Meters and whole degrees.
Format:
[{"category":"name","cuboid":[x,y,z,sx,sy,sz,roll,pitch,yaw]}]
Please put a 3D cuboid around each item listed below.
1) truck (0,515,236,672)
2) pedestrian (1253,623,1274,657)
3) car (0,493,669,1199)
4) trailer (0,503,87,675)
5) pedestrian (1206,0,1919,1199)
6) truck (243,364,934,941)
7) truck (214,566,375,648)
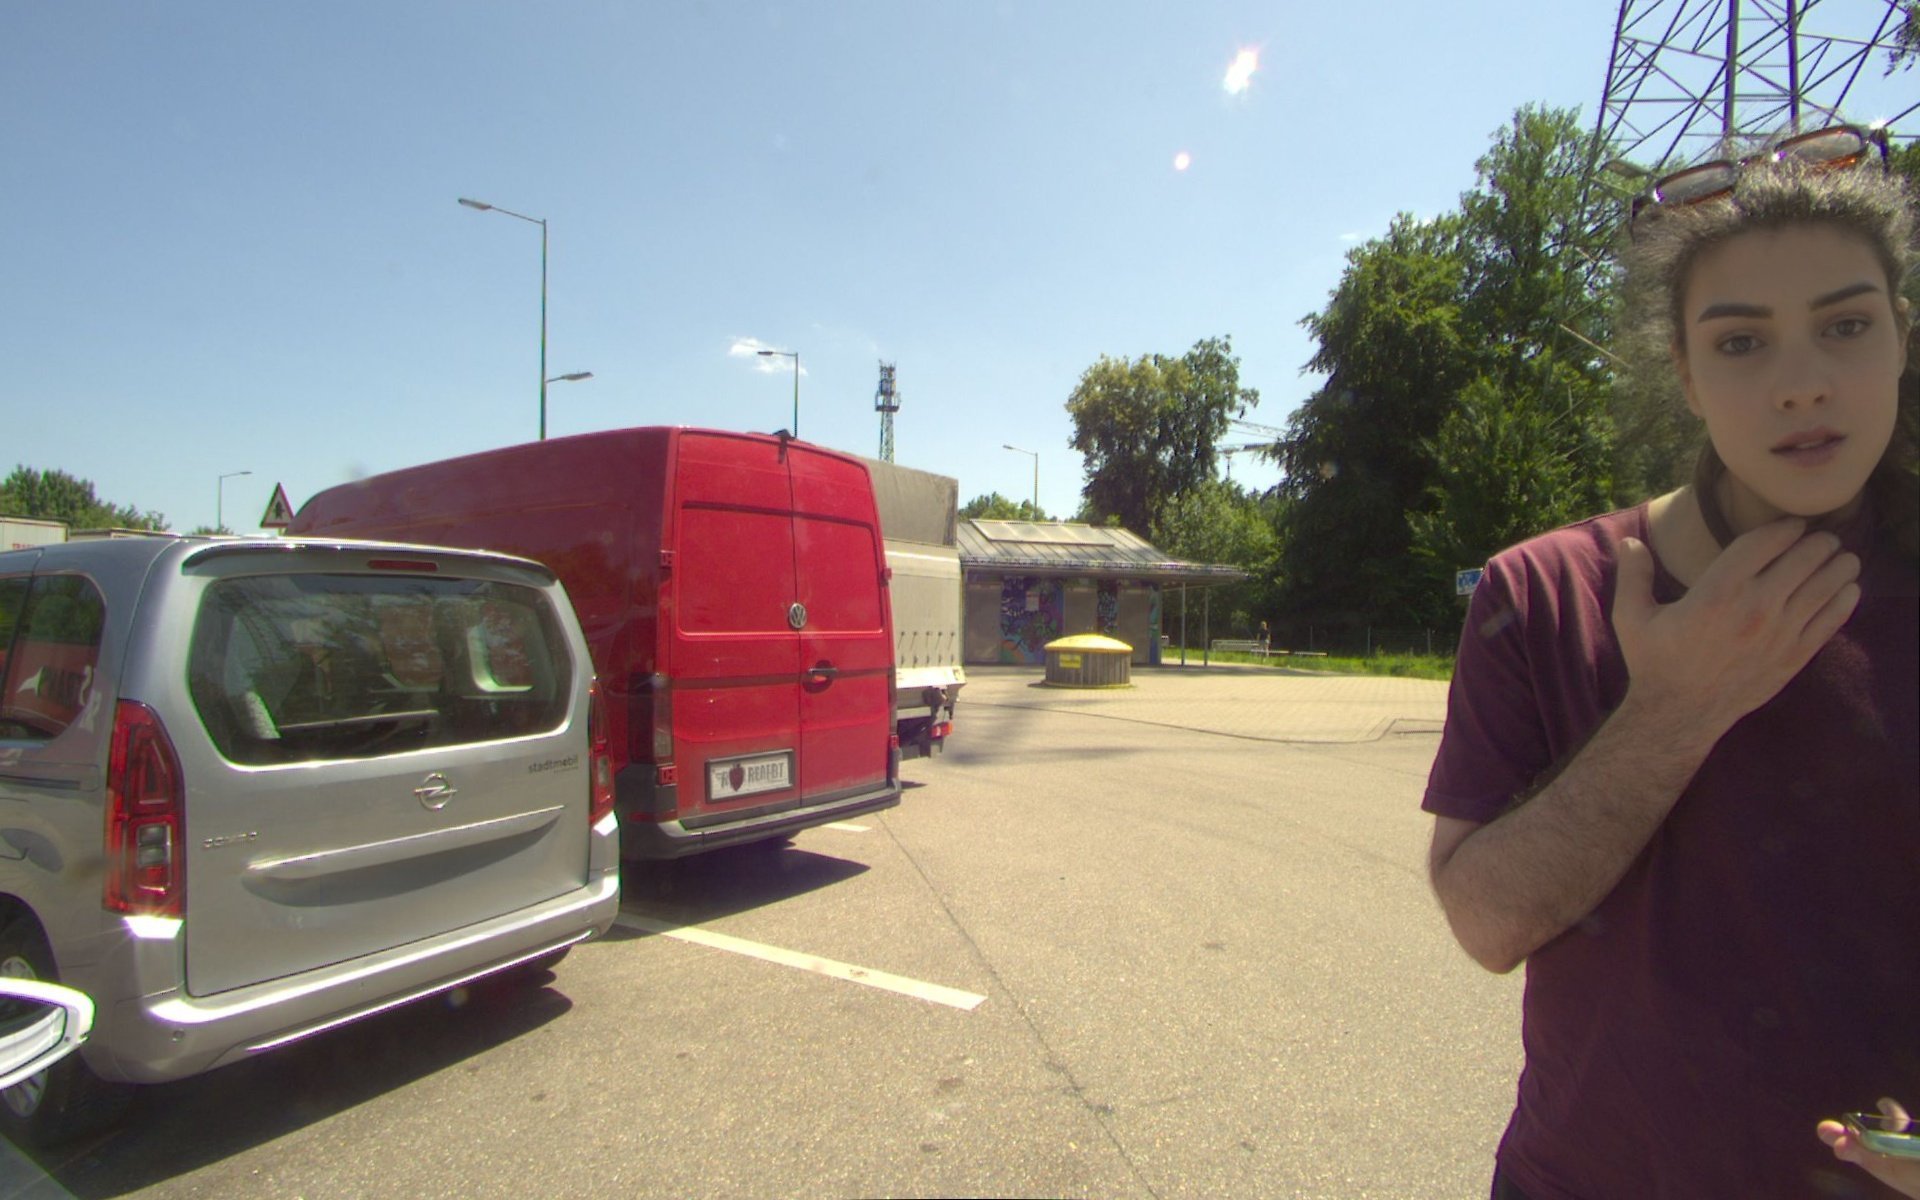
[{"category":"truck","cuboid":[-27.987,-0.120,31.778,14.316,4.175,2.901,0,-3,33]},{"category":"pedestrian","cuboid":[12.633,1.669,41.697,0.579,1.402,0.754,1,0,-8]},{"category":"car","cuboid":[-3.344,0.641,4.207,3.938,1.776,1.824,0,-1,29]},{"category":"trailer","cuboid":[-28.792,-0.280,28.024,13.374,4.178,2.871,0,-1,33]},{"category":"pedestrian","cuboid":[0.755,0.569,0.801,0.926,1.798,0.827,1,-1,28]},{"category":"truck","cuboid":[-2.858,0.266,6.992,5.233,2.658,1.987,0,-1,37]},{"category":"truck","cuboid":[-30.705,0.332,46.066,8.407,3.482,3.019,0,-1,33]}]
